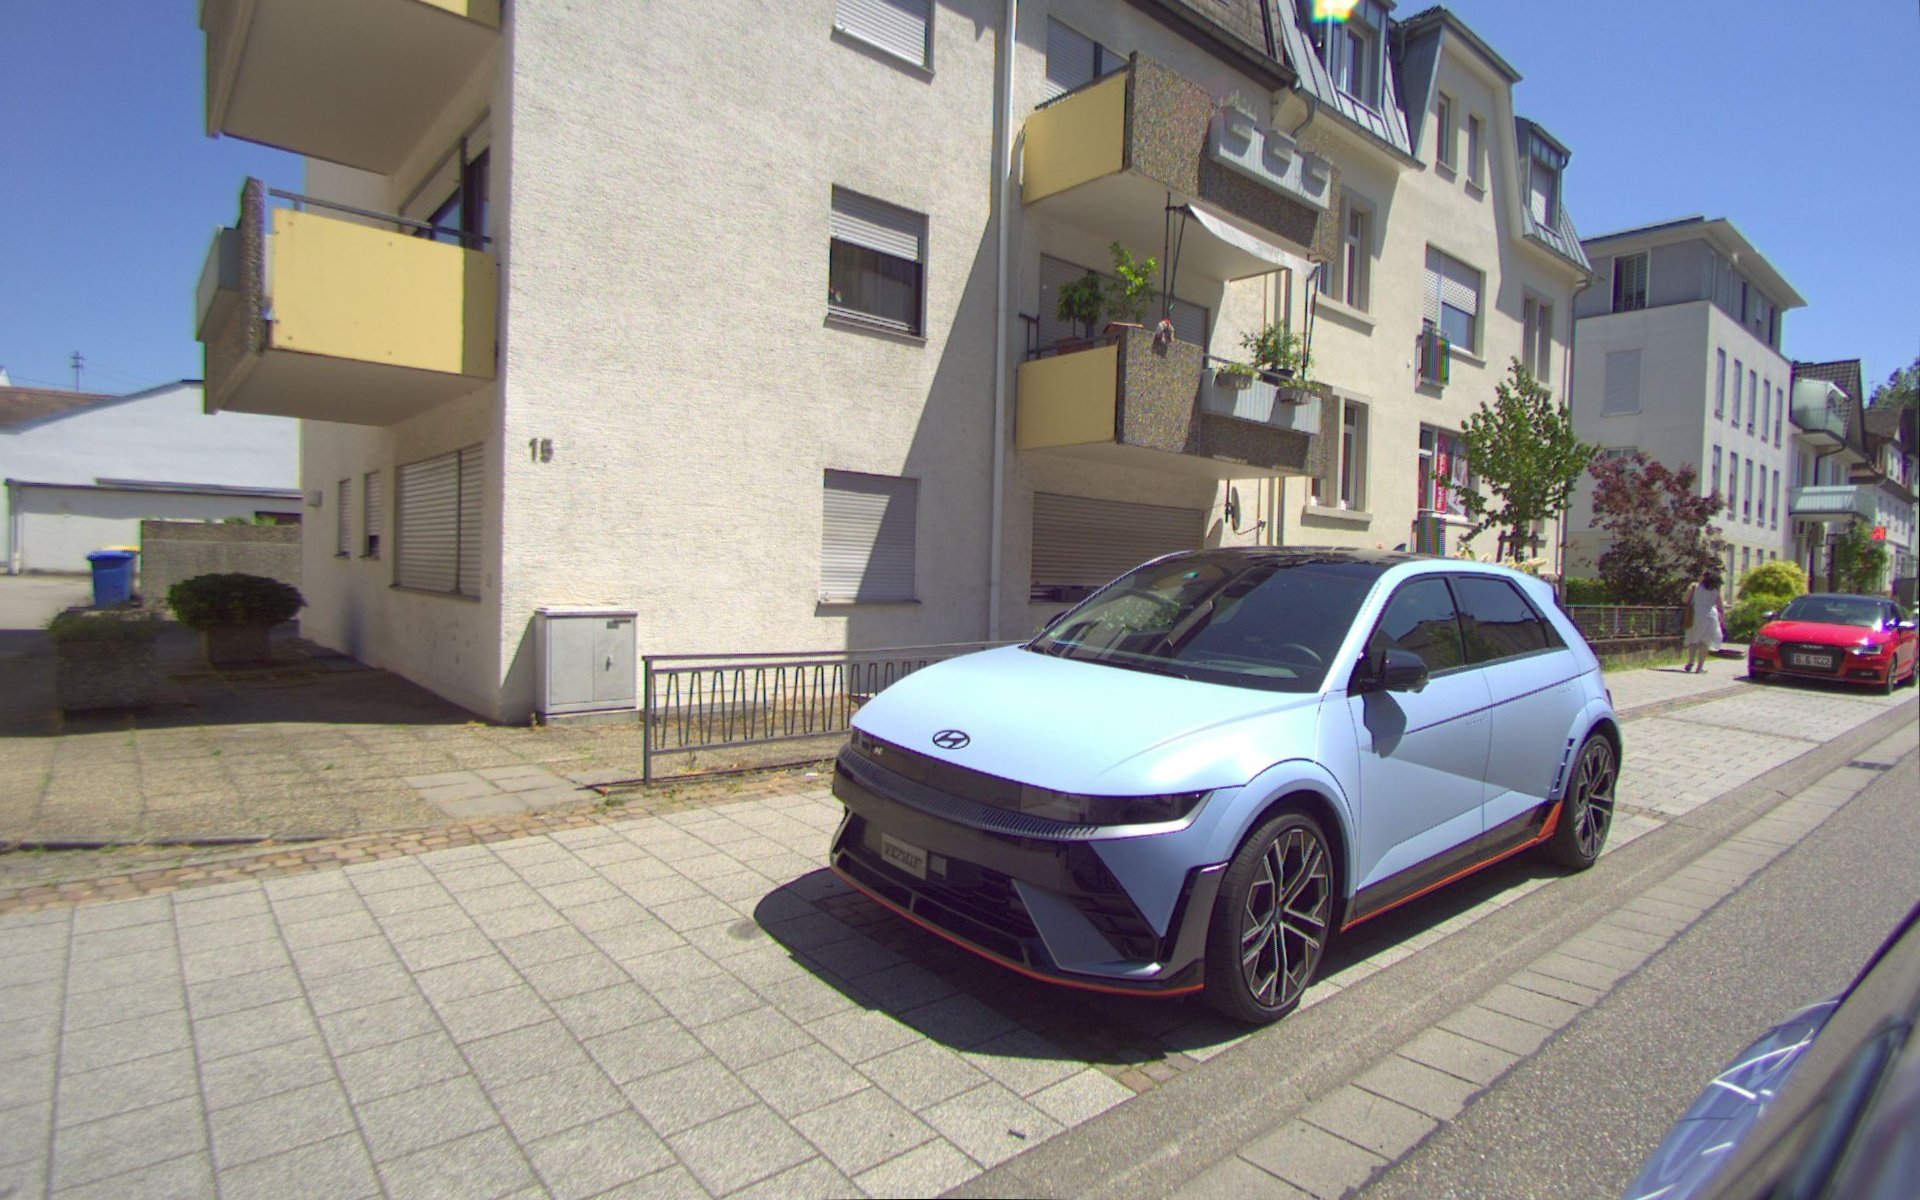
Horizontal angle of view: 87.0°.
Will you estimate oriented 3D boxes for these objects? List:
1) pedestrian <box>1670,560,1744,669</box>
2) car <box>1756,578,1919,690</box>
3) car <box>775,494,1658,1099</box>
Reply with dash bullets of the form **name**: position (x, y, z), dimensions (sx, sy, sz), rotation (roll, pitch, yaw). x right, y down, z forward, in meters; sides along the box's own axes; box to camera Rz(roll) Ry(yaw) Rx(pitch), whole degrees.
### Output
- **pedestrian**: position (12.261, 0.219, 16.618), dimensions (0.694, 1.689, 0.742), rotation (0, 4, -42)
- **car**: position (14.128, 0.464, 15.977), dimensions (3.784, 1.458, 1.608), rotation (0, 5, -40)
- **car**: position (1.513, 0.466, 4.831), dimensions (4.349, 1.639, 1.848), rotation (0, 4, -40)
